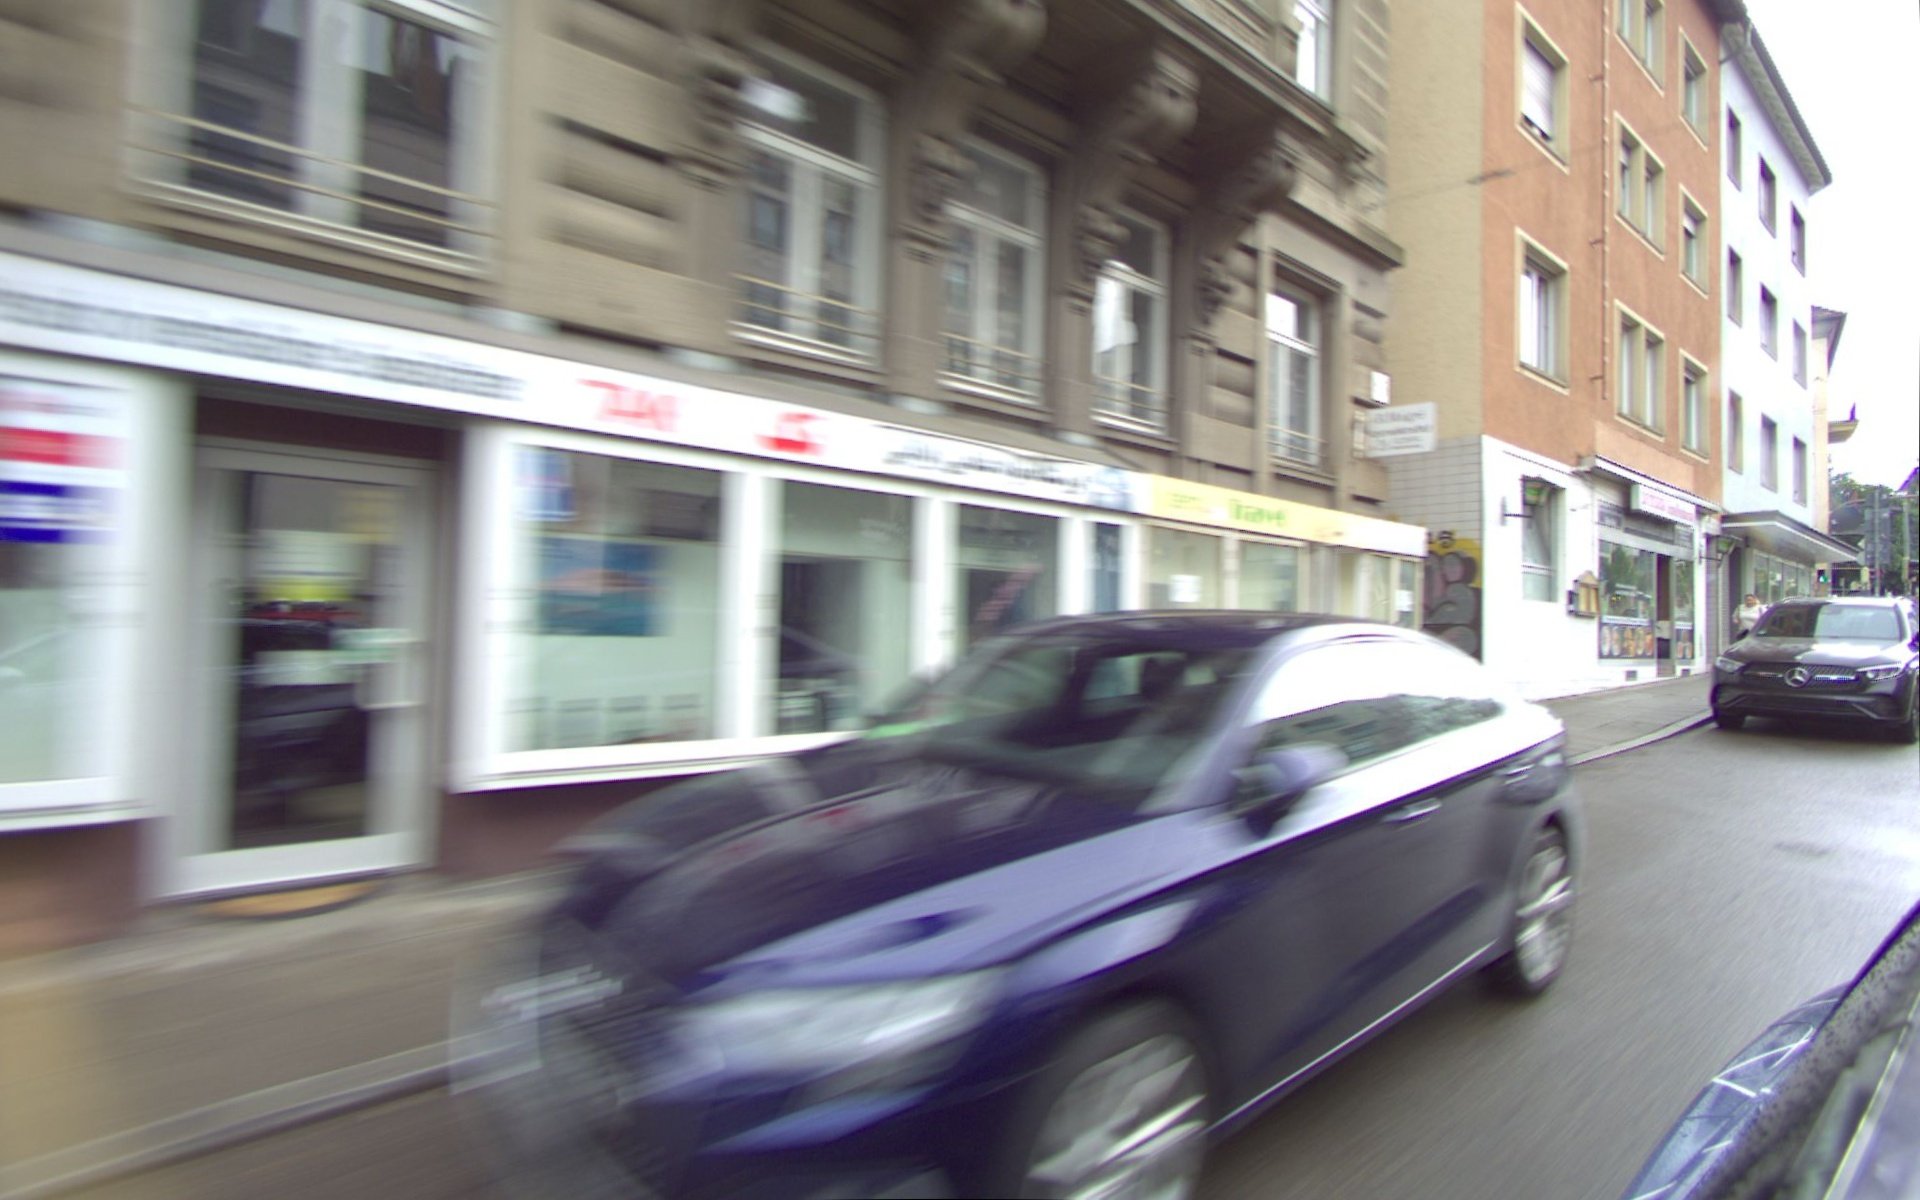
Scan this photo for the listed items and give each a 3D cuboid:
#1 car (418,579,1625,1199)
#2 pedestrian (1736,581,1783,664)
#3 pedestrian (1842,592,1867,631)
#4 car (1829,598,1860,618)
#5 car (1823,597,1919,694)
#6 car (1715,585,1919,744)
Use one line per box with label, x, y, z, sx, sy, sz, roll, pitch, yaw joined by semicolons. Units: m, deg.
car;0.652;0.668;3.520;4.185;1.424;1.794;-1;3;-43
pedestrian;15.989;0.447;20.243;0.687;1.592;0.752;2;-1;38
pedestrian;42.501;0.552;48.096;0.745;1.785;0.807;3;3;38
car;79.948;0.717;91.487;1.717;1.707;3.815;-4;-1;37
car;16.316;0.728;17.234;4.506;1.474;1.805;1;0;-41
car;11.282;0.666;12.785;4.506;1.653;1.848;-1;0;-41
